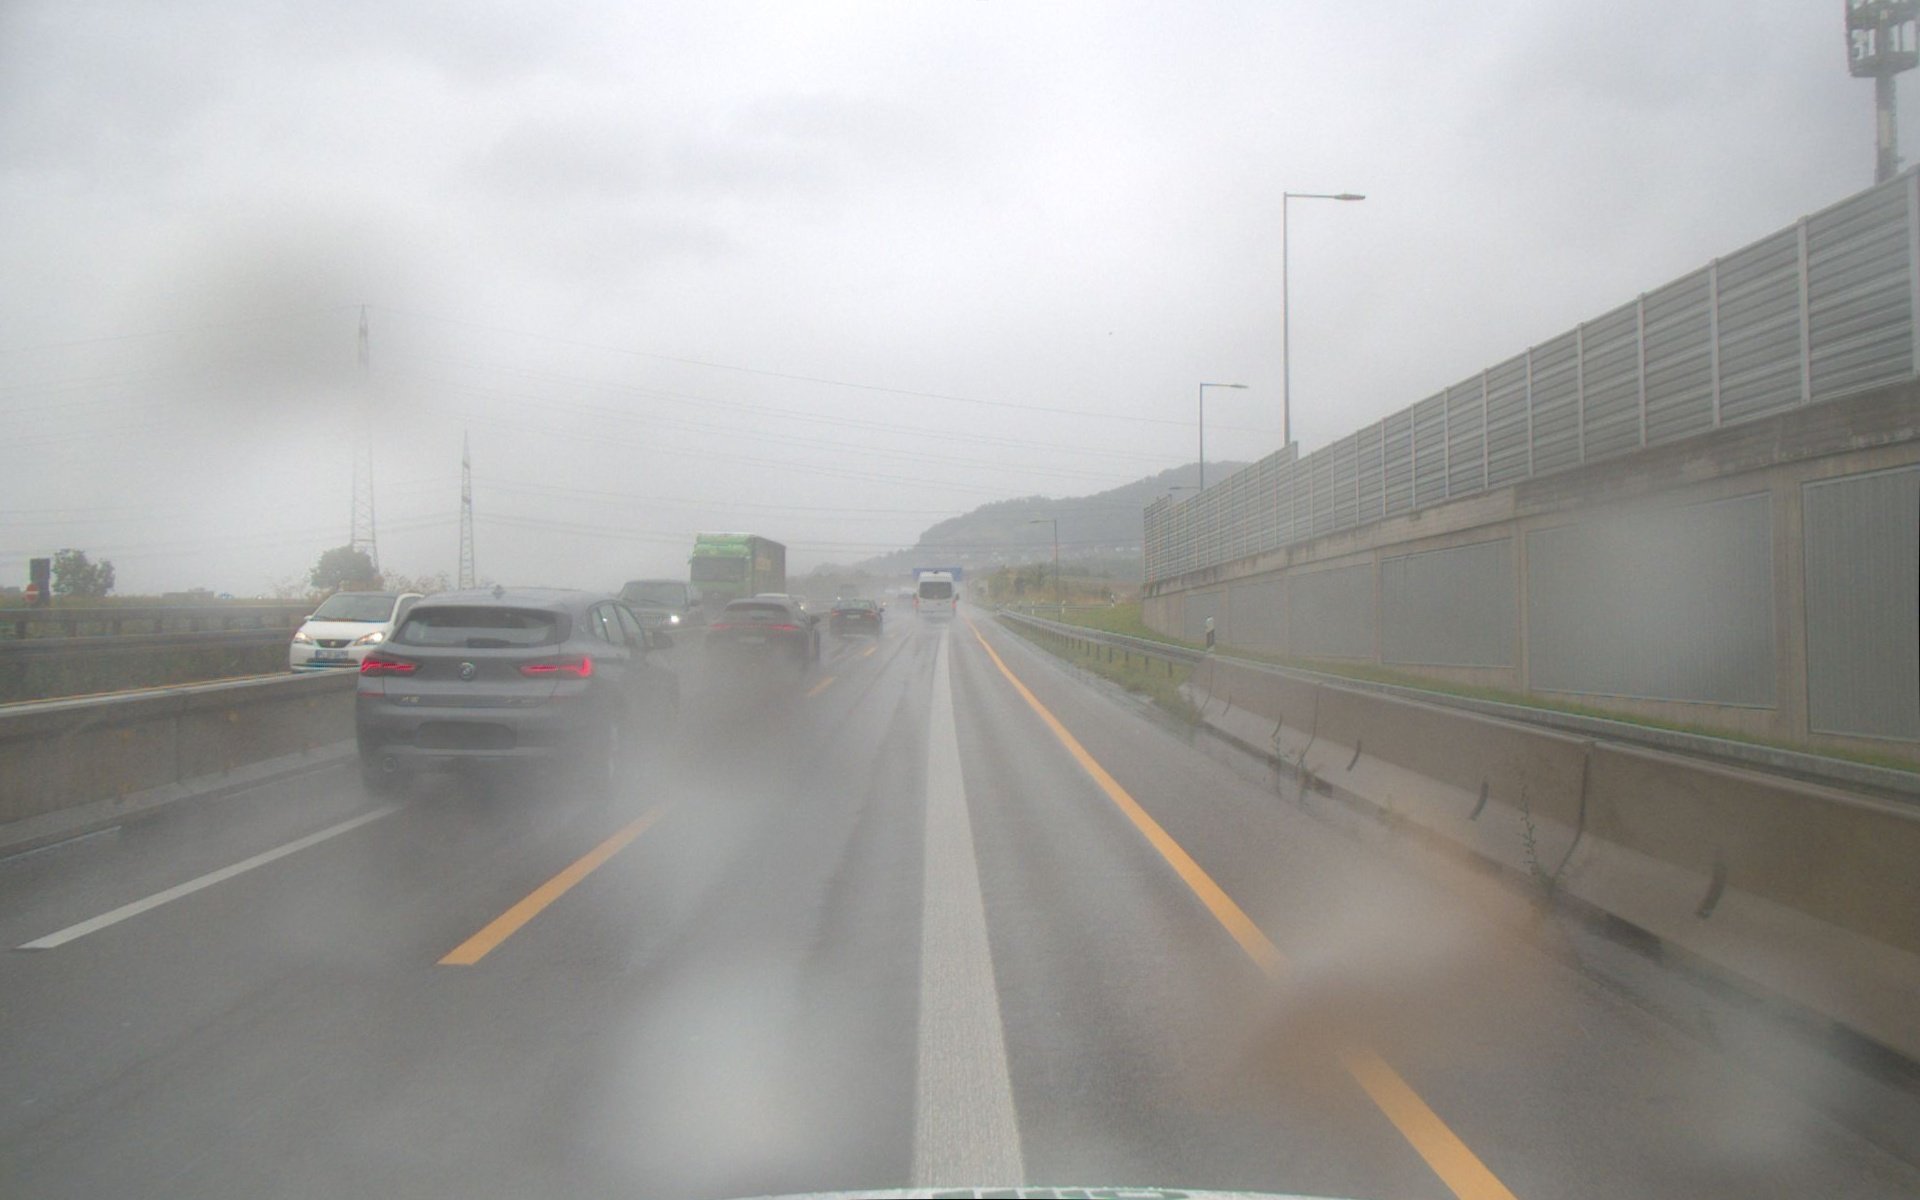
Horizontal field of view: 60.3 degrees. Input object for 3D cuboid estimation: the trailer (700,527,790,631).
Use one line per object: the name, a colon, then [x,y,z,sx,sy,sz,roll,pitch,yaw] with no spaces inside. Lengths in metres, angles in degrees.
trailer: [-10.150,-0.924,79.528,2.528,4.535,13.551,1,0,0]

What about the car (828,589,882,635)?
car: [-3.780,0.406,58.962,1.808,1.517,4.258,-2,0,-4]

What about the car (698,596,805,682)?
car: [-3.968,0.756,32.037,1.808,1.517,4.257,1,-1,-4]

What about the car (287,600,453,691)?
car: [-10.048,0.730,28.438,1.537,1.461,3.892,0,0,-2]

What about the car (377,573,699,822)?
car: [-3.173,0.702,13.386,1.667,1.626,4.840,1,-1,-4]

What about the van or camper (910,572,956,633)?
van or camper: [-1.329,0.160,79.771,1.957,2.826,4.045,1,-1,-4]

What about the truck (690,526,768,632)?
truck: [-10.134,-0.900,73.235,2.555,4.465,6.289,1,0,-1]

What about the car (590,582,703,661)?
car: [-7.225,0.477,38.560,1.860,1.716,4.739,0,0,-2]
